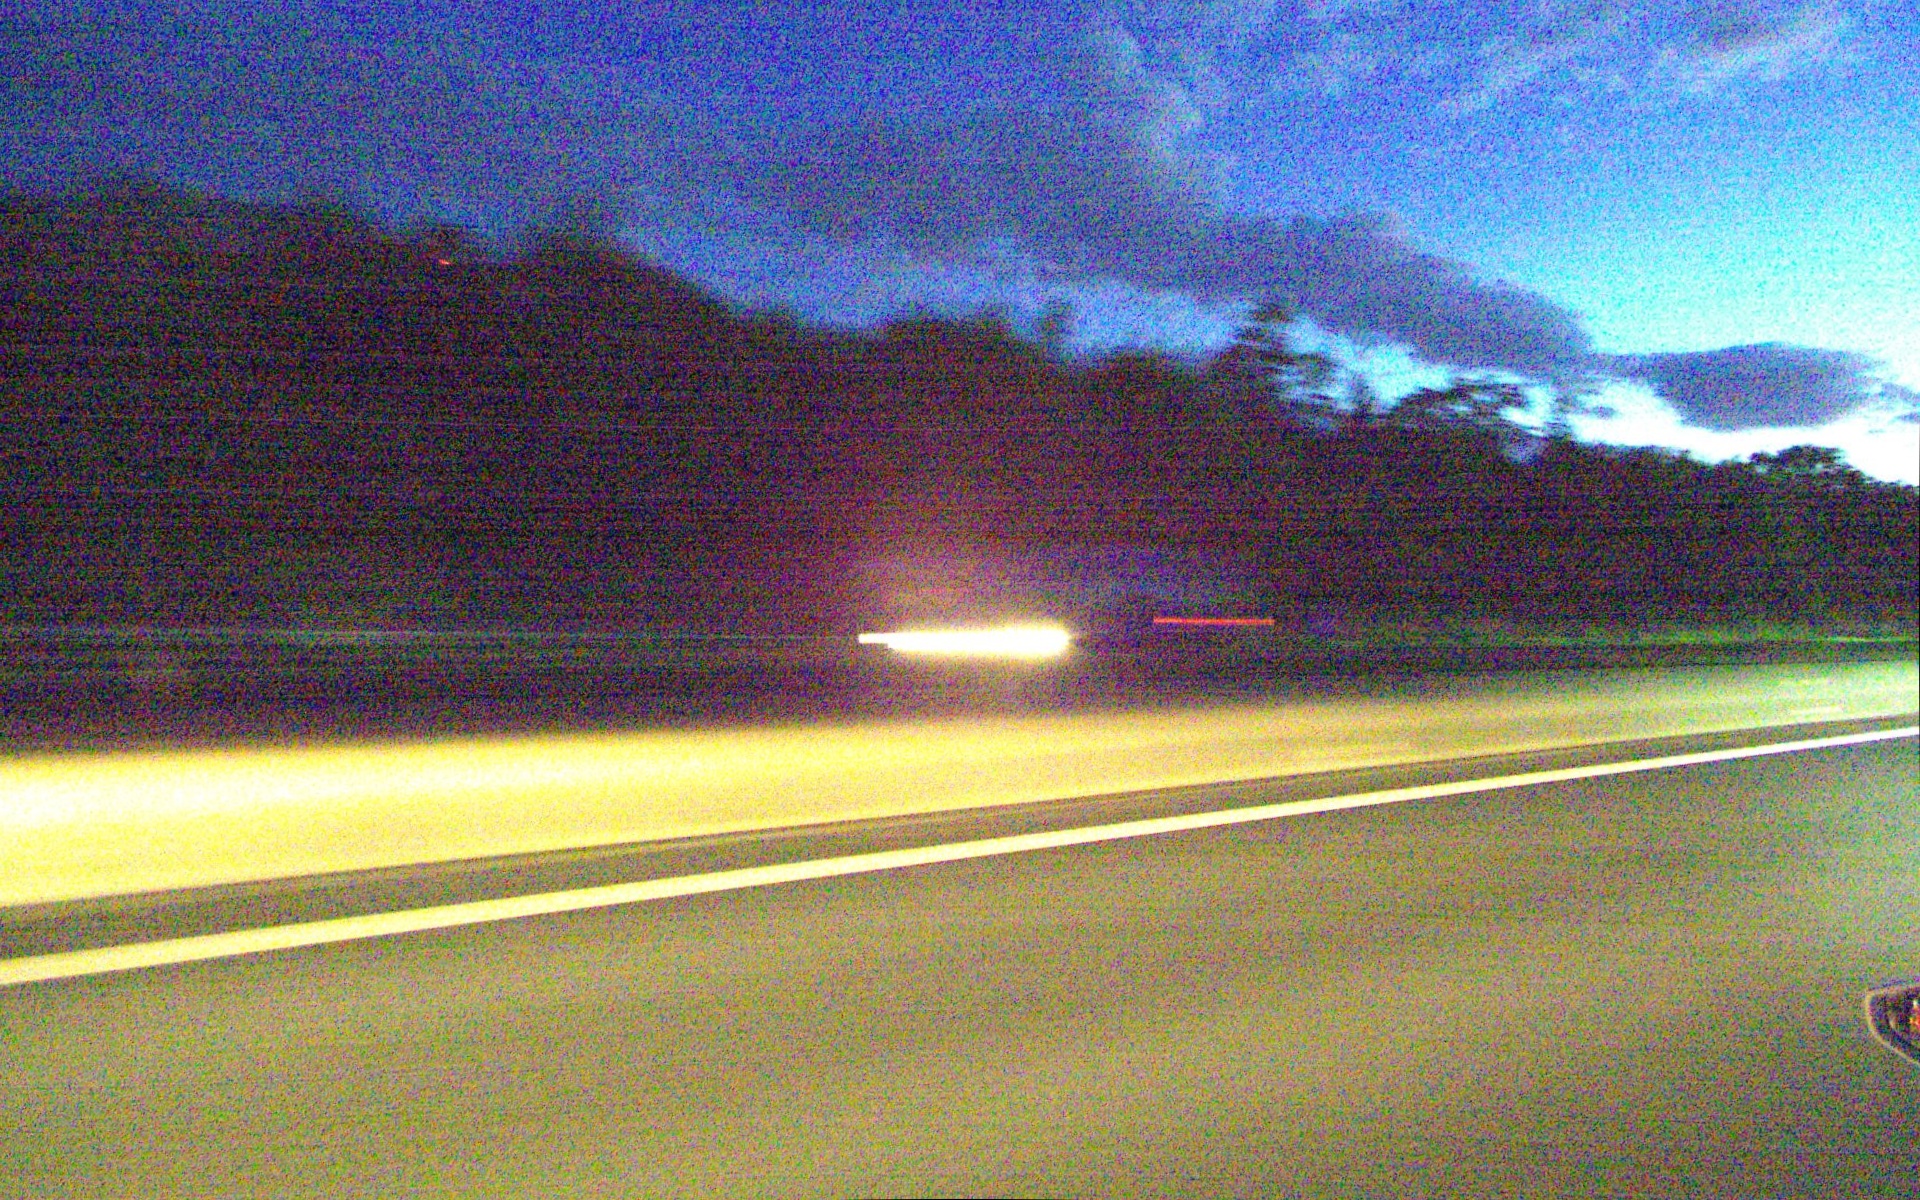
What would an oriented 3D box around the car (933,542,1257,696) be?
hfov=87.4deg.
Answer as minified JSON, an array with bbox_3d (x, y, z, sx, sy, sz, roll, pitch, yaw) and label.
[{"bbox_3d":[2.677,0.373,19.116,6.144,2.551,2.090,1,0,-31],"label":"car"}]
